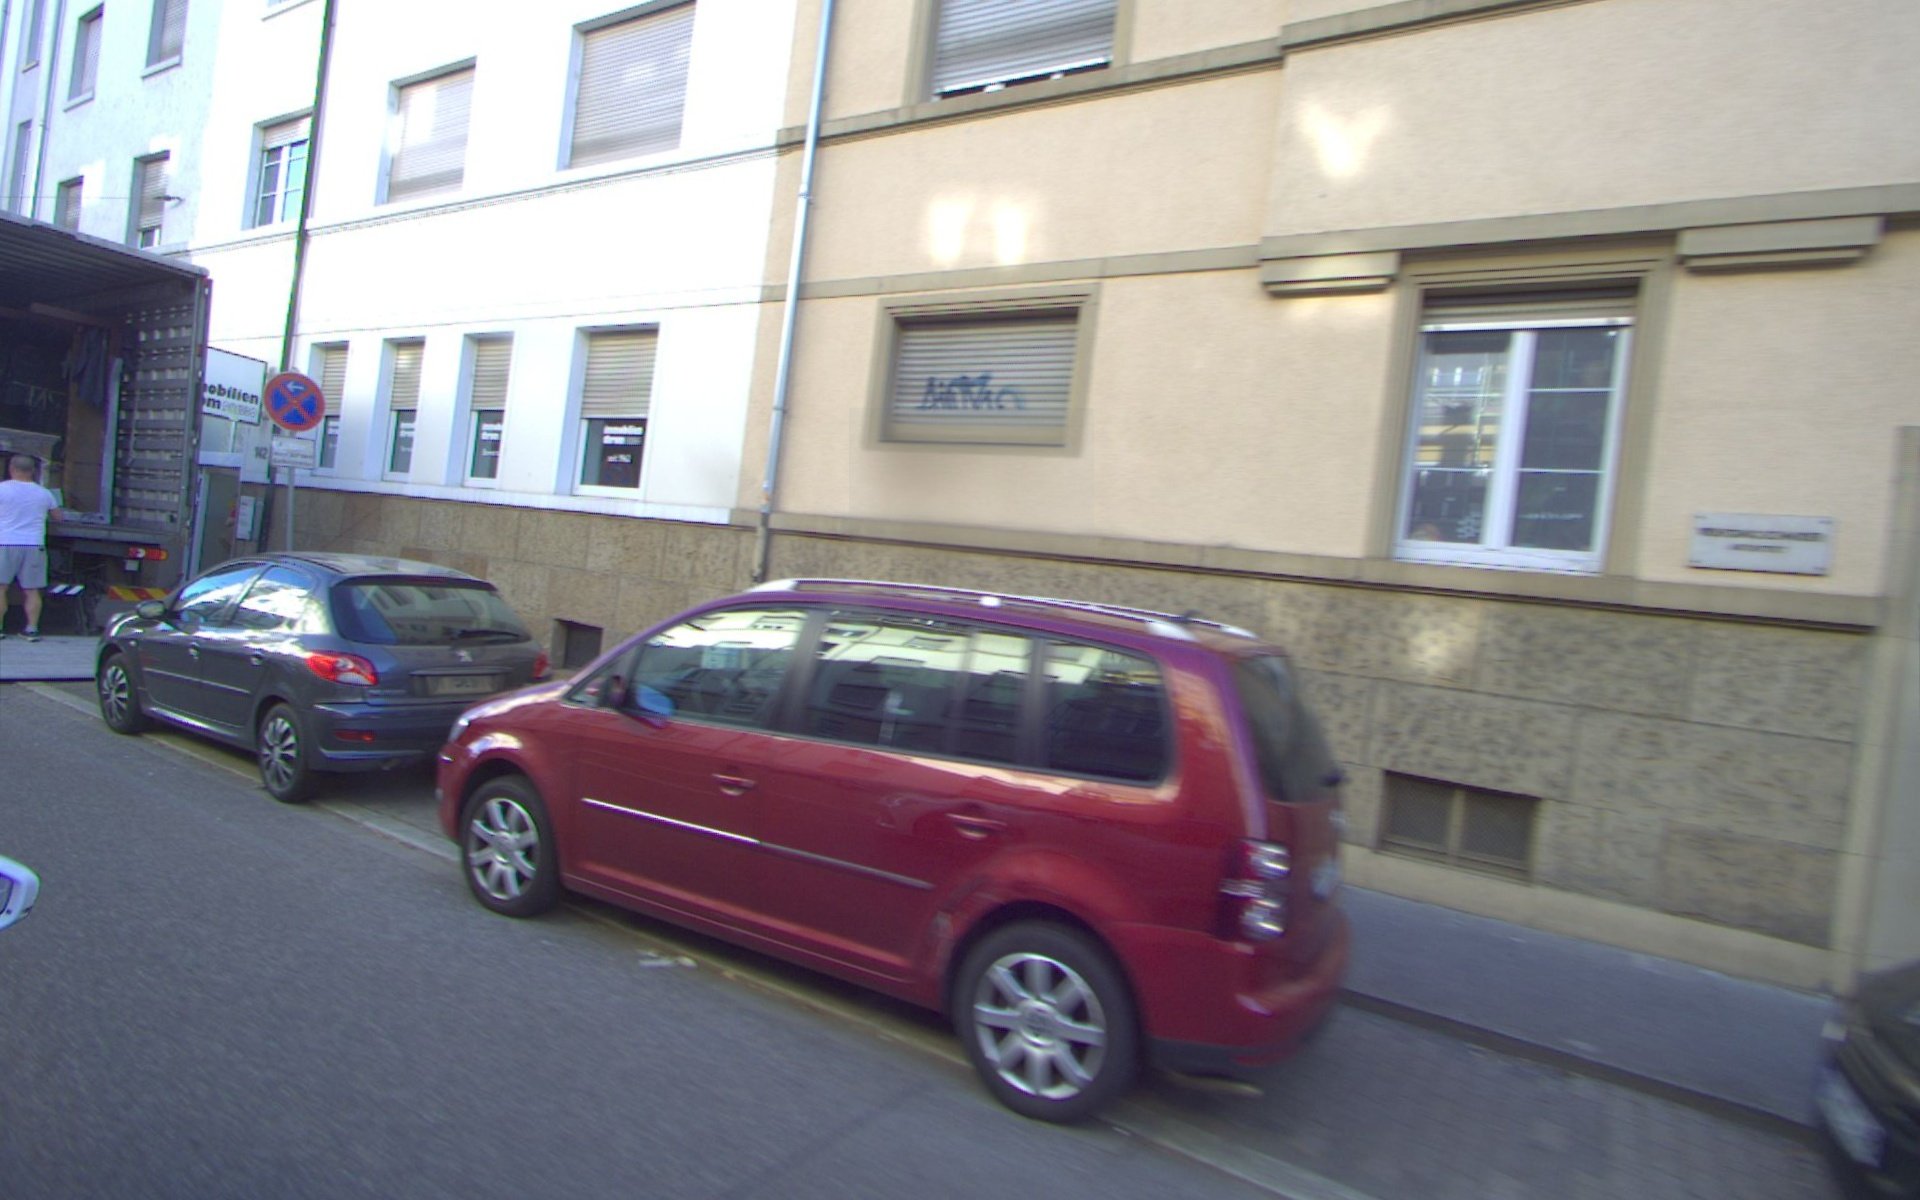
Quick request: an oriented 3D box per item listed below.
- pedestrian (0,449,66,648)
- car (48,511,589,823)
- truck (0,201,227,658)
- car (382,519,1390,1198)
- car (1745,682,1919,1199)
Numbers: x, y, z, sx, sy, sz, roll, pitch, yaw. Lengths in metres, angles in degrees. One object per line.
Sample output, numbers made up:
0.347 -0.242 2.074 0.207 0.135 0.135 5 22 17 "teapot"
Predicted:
-8.853 -0.479 9.397 0.409 1.797 0.513 7 1 32 "pedestrian"
-4.609 0.329 7.098 3.815 1.482 1.584 7 0 31 "car"
-13.584 -2.122 12.618 11.586 4.123 2.863 7 0 33 "truck"
-0.498 0.688 4.500 4.174 1.629 1.594 7 1 29 "car"
4.345 1.288 1.774 4.293 1.672 1.792 7 0 30 "car"
